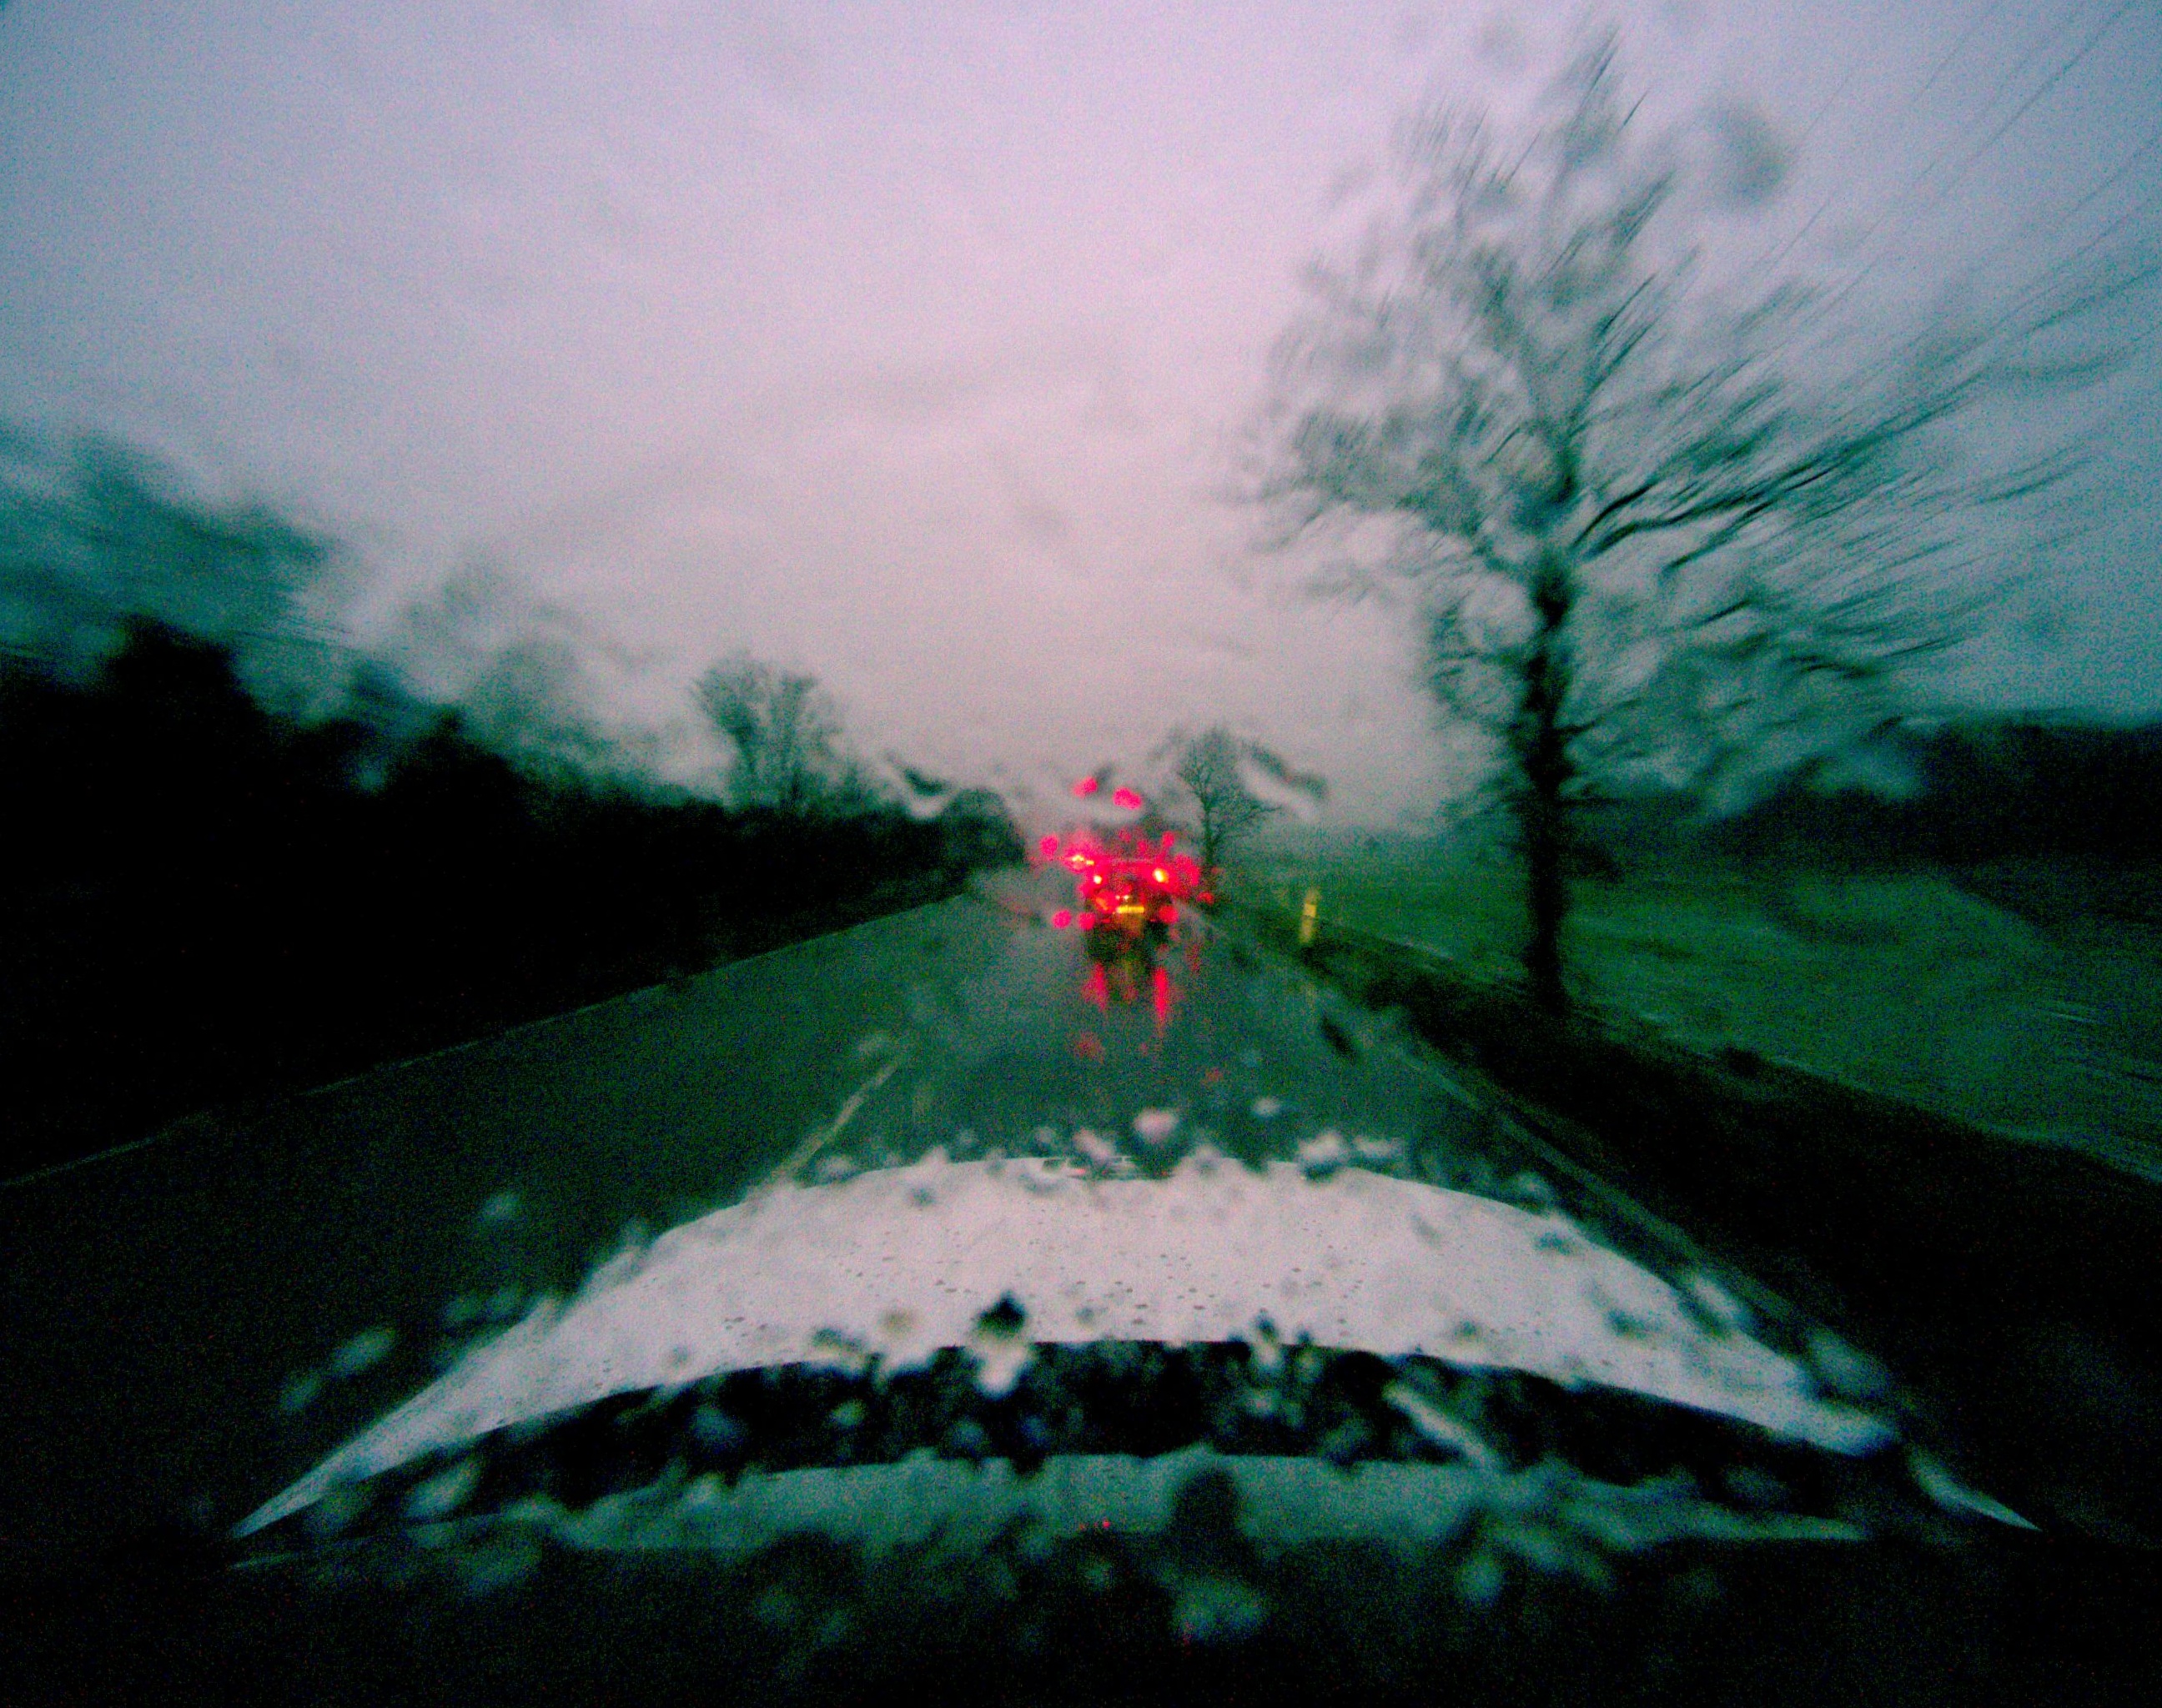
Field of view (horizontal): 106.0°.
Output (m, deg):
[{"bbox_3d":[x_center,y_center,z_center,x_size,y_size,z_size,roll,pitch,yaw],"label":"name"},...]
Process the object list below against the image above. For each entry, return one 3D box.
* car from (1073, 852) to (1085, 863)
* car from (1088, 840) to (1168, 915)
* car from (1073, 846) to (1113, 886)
[{"bbox_3d":[-0.316,0.595,139.175,1.855,1.700,4.471,-1,0,3],"label":"car"},{"bbox_3d":[1.029,0.450,16.925,1.493,1.398,3.204,-1,0,5],"label":"car"},{"bbox_3d":[0.682,0.622,43.424,1.843,2.013,4.005,-1,0,5],"label":"car"}]
